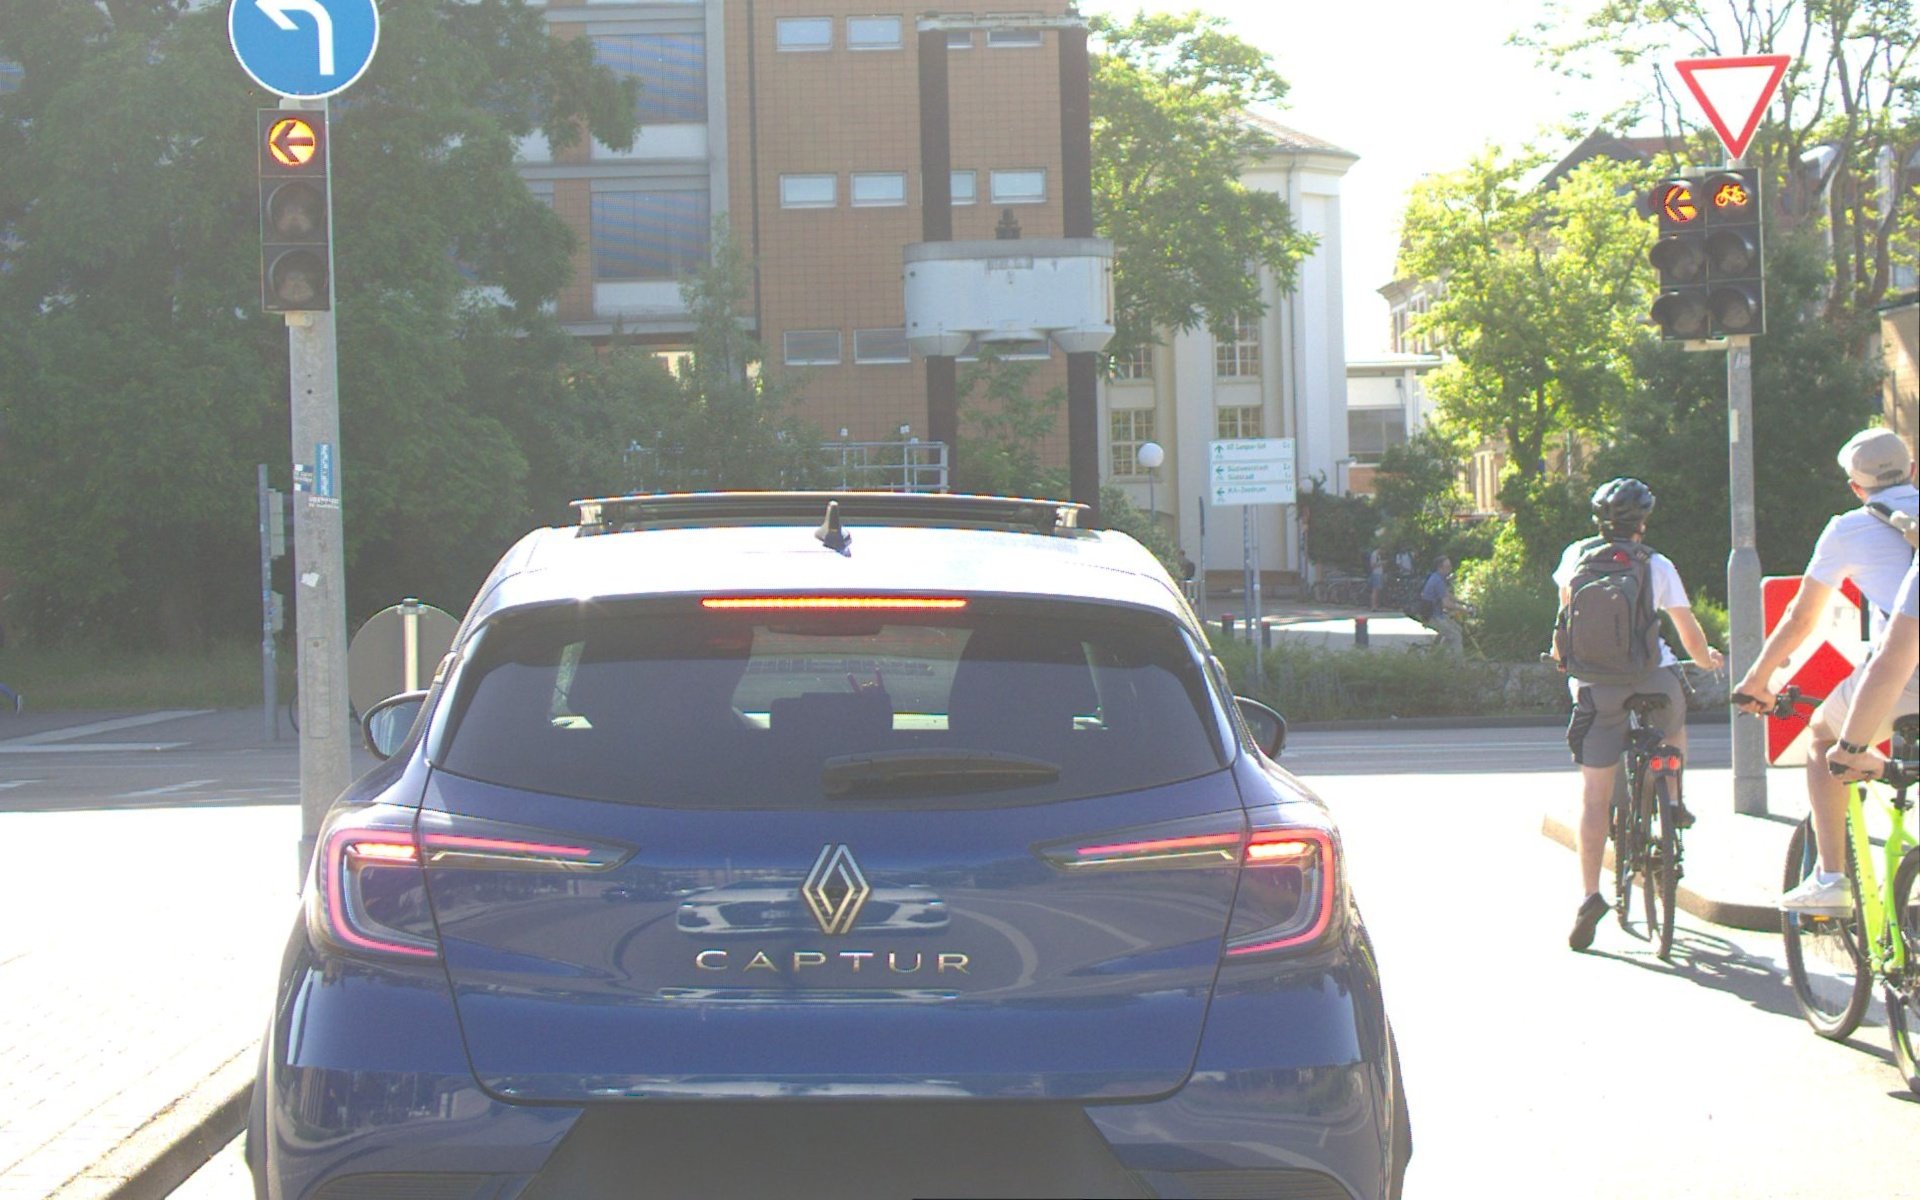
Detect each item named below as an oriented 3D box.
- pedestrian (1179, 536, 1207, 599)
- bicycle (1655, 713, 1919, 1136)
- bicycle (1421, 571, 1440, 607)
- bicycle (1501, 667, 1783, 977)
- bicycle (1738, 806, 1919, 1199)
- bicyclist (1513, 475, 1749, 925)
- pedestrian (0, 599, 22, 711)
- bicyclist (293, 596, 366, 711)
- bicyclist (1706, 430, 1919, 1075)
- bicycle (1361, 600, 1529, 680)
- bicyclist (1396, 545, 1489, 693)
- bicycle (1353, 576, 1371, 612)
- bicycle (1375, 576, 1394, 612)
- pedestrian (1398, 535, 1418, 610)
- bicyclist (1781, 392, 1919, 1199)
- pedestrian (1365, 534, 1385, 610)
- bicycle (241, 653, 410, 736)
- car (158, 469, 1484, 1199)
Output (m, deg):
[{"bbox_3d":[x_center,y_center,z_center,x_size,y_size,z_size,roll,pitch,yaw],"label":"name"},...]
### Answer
[{"bbox_3d":[6.944,-0.965,102.534,0.623,1.849,0.563,-1,1,-24],"label":"pedestrian"},{"bbox_3d":[2.614,0.868,9.820,0.659,0.999,1.970,1,1,-6],"label":"bicycle"},{"bbox_3d":[12.920,-0.295,94.415,0.405,0.969,1.683,1,1,4],"label":"bicycle"},{"bbox_3d":[2.513,0.784,12.900,0.739,0.992,2.173,1,1,3],"label":"bicycle"},{"bbox_3d":[2.230,0.955,7.255,0.740,0.893,1.978,1,1,1],"label":"bicycle"},{"bbox_3d":[2.510,0.357,12.945,0.726,1.623,0.969,1,0,4],"label":"bicyclist"},{"bbox_3d":[-14.033,0.798,49.624,0.737,1.598,0.598,-1,1,12],"label":"pedestrian"},{"bbox_3d":[-8.031,0.678,43.786,0.737,1.436,0.598,-2,1,-27],"label":"bicyclist"},{"bbox_3d":[2.625,0.409,9.809,0.645,1.733,1.067,1,0,-6],"label":"bicyclist"},{"bbox_3d":[6.202,0.509,43.948,2.082,0.927,0.696,-2,2,9],"label":"bicycle"},{"bbox_3d":[6.182,0.238,44.022,1.102,1.861,0.652,-1,1,10],"label":"bicyclist"},{"bbox_3d":[10.994,-0.175,94.079,0.405,0.969,1.683,1,1,4],"label":"bicycle"},{"bbox_3d":[11.617,-0.166,94.036,0.405,0.969,1.683,1,1,4],"label":"bicycle"},{"bbox_3d":[12.041,-0.748,92.393,0.475,2.007,0.468,-1,1,6],"label":"pedestrian"},{"bbox_3d":[2.234,0.423,7.244,0.751,1.663,1.016,1,0,1],"label":"bicyclist"},{"bbox_3d":[10.984,-0.749,91.042,0.475,2.007,0.523,-1,1,6],"label":"pedestrian"},{"bbox_3d":[-8.078,1.192,43.769,2.005,0.961,0.598,-2,1,-27],"label":"bicycle"},{"bbox_3d":[-0.266,0.616,6.695,1.803,1.626,4.000,0,1,-2],"label":"car"}]
